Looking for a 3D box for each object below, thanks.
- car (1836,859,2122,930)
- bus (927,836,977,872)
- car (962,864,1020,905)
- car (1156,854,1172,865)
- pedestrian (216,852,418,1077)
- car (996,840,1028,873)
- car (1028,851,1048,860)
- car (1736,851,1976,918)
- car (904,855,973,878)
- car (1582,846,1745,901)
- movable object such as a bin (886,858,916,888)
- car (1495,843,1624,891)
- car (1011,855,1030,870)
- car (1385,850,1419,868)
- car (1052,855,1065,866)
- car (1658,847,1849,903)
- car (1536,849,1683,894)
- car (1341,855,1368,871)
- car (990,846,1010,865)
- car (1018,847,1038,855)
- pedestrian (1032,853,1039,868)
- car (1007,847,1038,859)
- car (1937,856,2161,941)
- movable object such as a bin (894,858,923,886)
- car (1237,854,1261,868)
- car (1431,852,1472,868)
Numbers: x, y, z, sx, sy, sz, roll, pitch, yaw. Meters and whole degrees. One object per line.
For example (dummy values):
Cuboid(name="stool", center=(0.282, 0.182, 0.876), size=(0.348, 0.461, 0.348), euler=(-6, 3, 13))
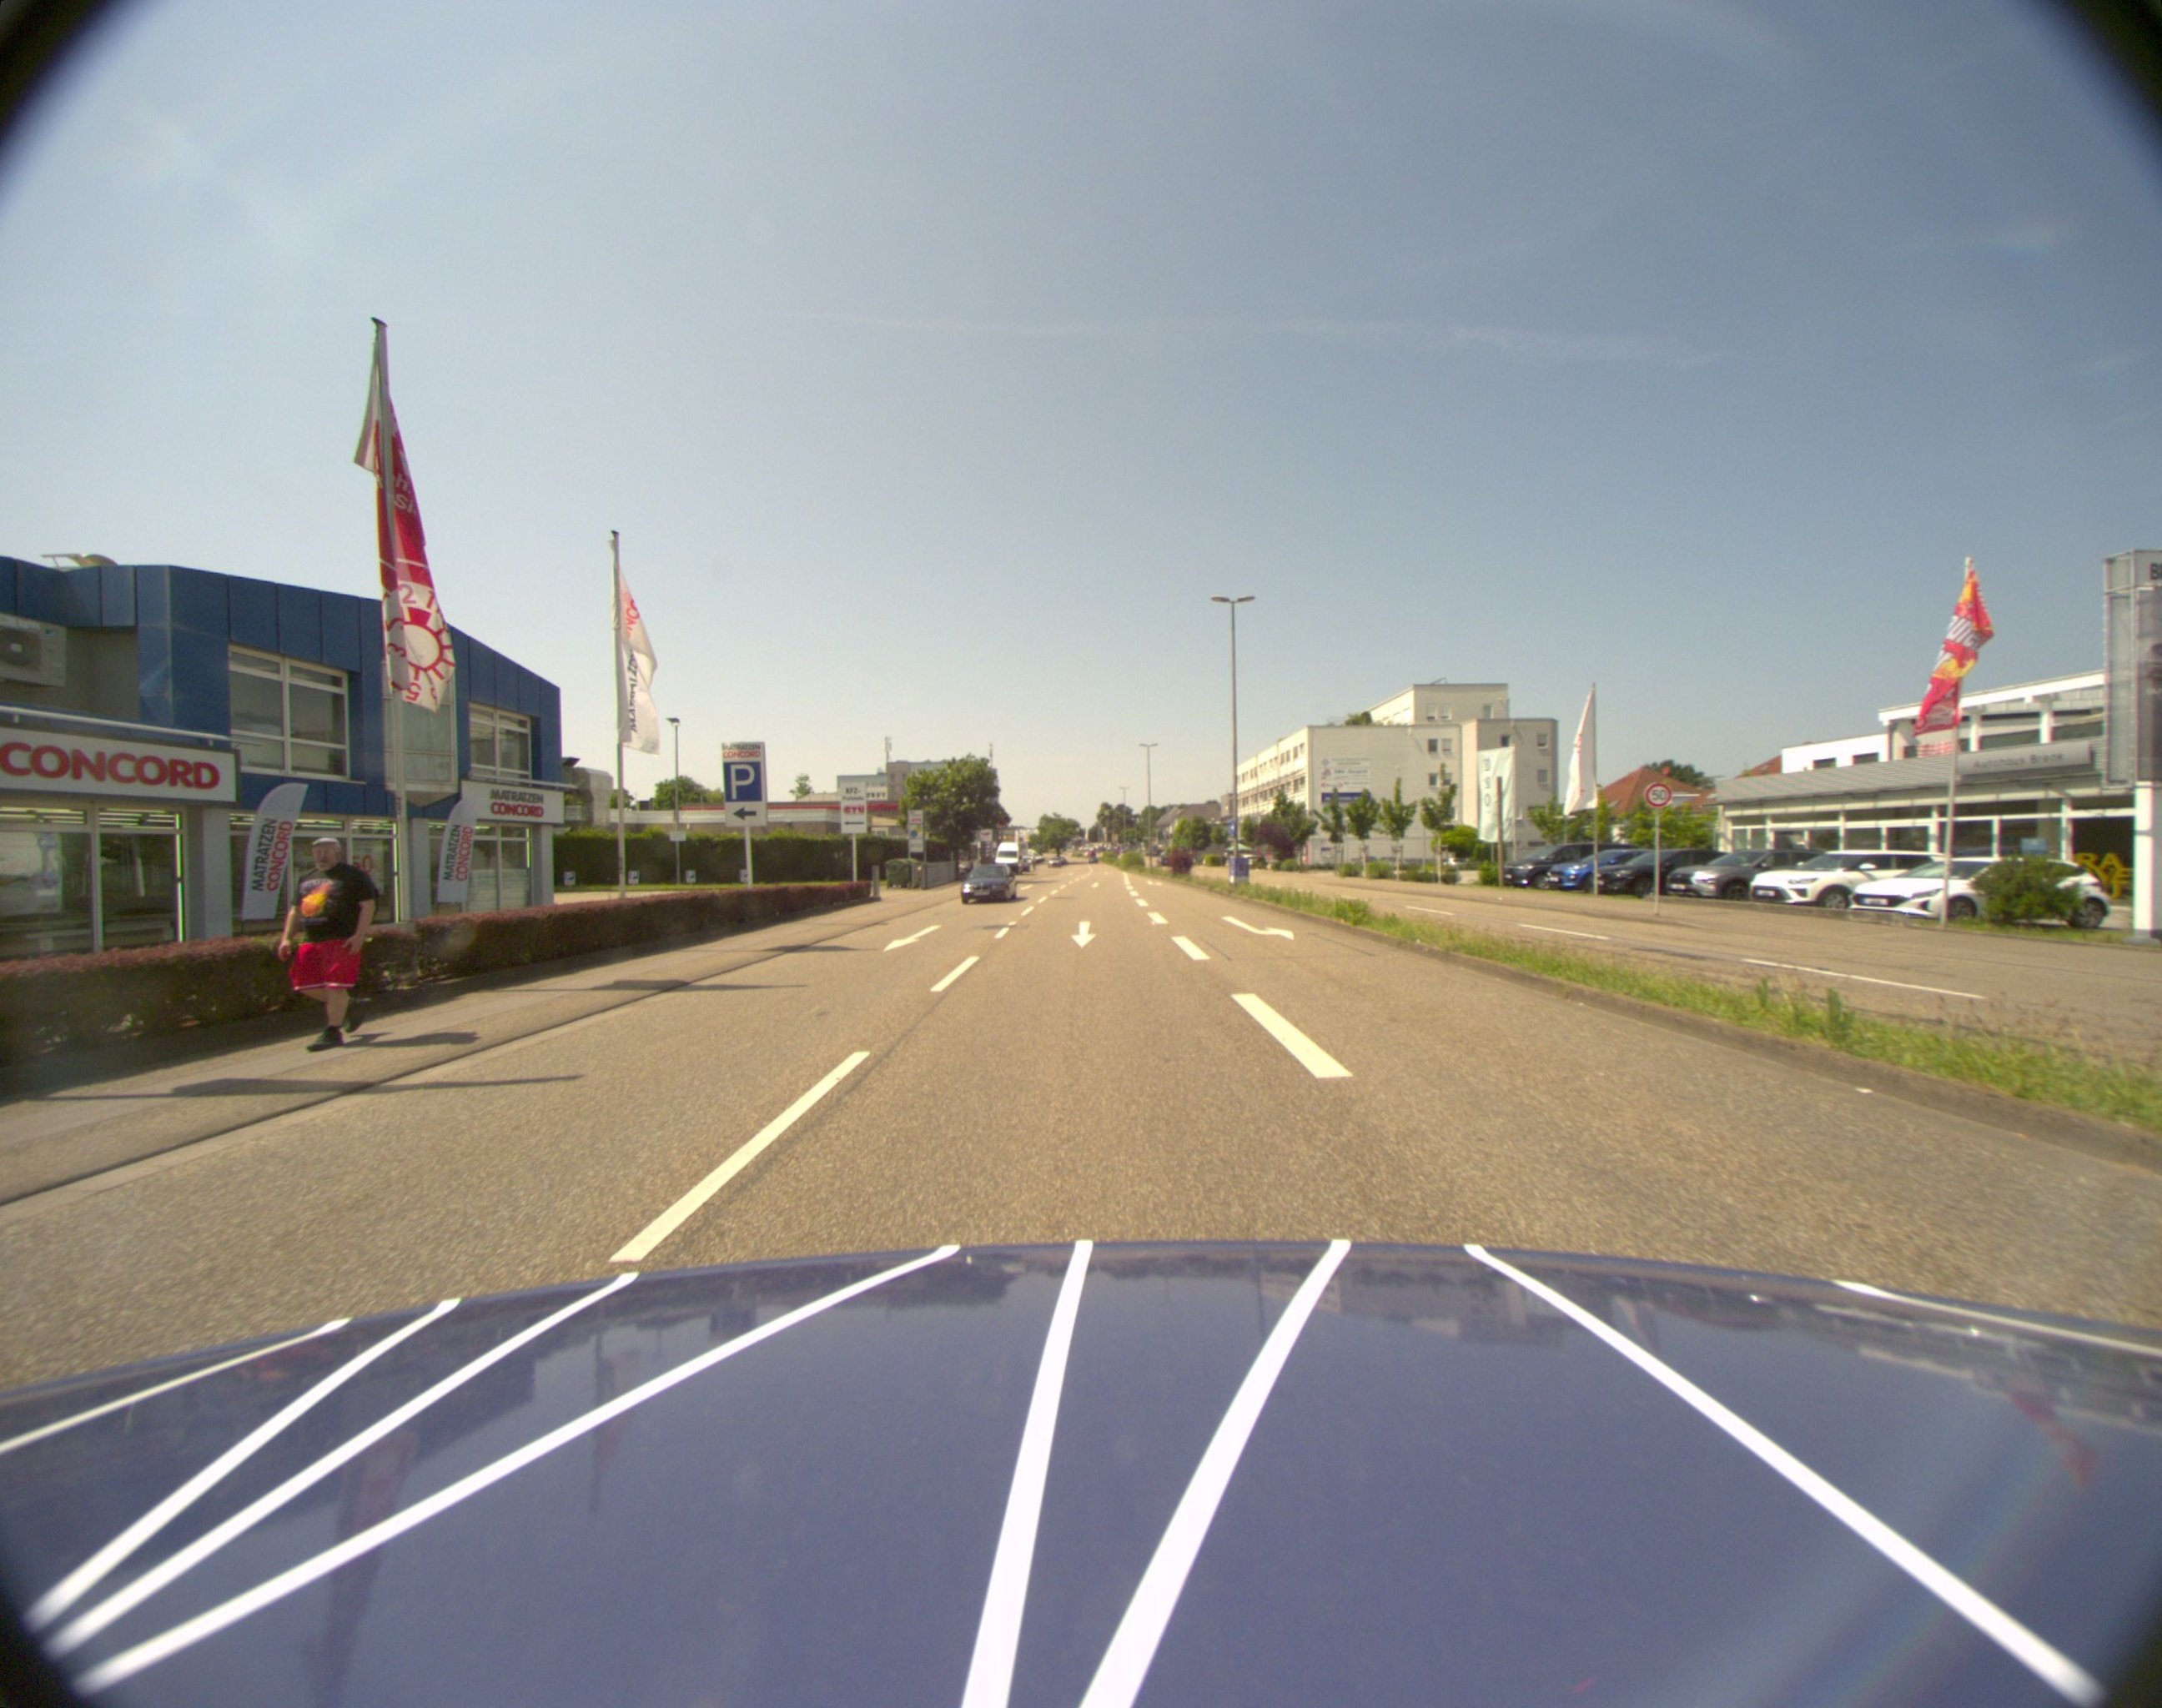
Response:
Cuboid(name="car", center=(19.118, 0.830, 16.319), size=(3.997, 1.386, 1.860), euler=(0, 0, -1))
Cuboid(name="bus", center=(-12.067, -0.008, 72.011), size=(2.755, 3.134, 9.080), euler=(0, 0, 3))
Cuboid(name="car", center=(-3.281, 1.075, 28.290), size=(1.632, 1.331, 3.756), euler=(-2, 0, 0))
Cuboid(name="car", center=(11.911, 0.765, 109.145), size=(1.832, 1.452, 4.712), euler=(0, 0, -1))
Cuboid(name="pedestrian", center=(-6.639, 0.903, 6.663), size=(0.787, 1.836, 0.936), euler=(0, 1, 3))
Cuboid(name="car", center=(-6.058, 0.225, 67.769), size=(2.183, 2.757, 7.277), euler=(2, 0, 0))
Cuboid(name="car", center=(-8.380, 0.215, 148.005), size=(3.999, 1.755, 1.724), euler=(0, 1, -5))
Cuboid(name="car", center=(19.351, 0.730, 19.144), size=(3.996, 1.599, 1.926), euler=(0, 0, 3))
Cuboid(name="car", center=(-10.419, 0.891, 55.666), size=(4.633, 1.518, 1.907), euler=(2, 0, 2))
Cuboid(name="car", center=(19.205, 0.616, 25.170), size=(3.997, 1.599, 1.759), euler=(2, 0, -1))
Cuboid(name="movable object such as a bin", center=(-9.138, 0.950, 38.657), size=(1.133, 1.461, 1.489), euler=(0, 0, 1))
Cuboid(name="car", center=(19.313, 0.502, 30.808), size=(3.997, 1.871, 2.000), euler=(0, 0, -1))
Cuboid(name="car", center=(-6.217, 0.856, 78.516), size=(1.681, 1.440, 3.840), euler=(2, 0, -1))
Cuboid(name="car", center=(27.803, 0.395, 65.922), size=(1.557, 1.510, 3.556), euler=(0, 0, 3))
Cuboid(name="car", center=(-3.392, 0.998, 113.224), size=(1.867, 1.550, 4.000), euler=(0, 0, 0))
Cuboid(name="car", center=(19.404, 0.582, 22.047), size=(3.997, 1.559, 1.759), euler=(0, 1, -1))
Cuboid(name="car", center=(19.440, 0.623, 28.079), size=(3.997, 1.599, 2.089), euler=(0, 0, -1))
Cuboid(name="car", center=(24.293, 0.782, 67.509), size=(1.456, 1.332, 2.833), euler=(0, 0, 3))
Cuboid(name="car", center=(-10.438, 0.166, 98.482), size=(2.058, 2.421, 5.574), euler=(0, 0, -1))
Cuboid(name="car", center=(-10.767, -0.625, 153.487), size=(3.999, 1.755, 1.724), euler=(0, 0, -5))
Cuboid(name="pedestrian", center=(-5.095, 0.730, 85.188), size=(0.704, 1.572, 0.820), euler=(2, 0, -3))
Cuboid(name="car", center=(-12.152, -0.232, 157.953), size=(6.870, 2.589, 1.728), euler=(0, 1, 33))
Cuboid(name="car", center=(19.143, 0.792, 14.363), size=(3.997, 1.458, 1.759), euler=(0, 0, -1))
Cuboid(name="movable object such as a bin", center=(-9.129, 0.943, 40.234), size=(1.133, 1.461, 1.489), euler=(0, 0, 1))
Cuboid(name="car", center=(18.105, 0.696, 82.196), size=(1.696, 1.440, 3.665), euler=(-2, 0, -1))
Cuboid(name="car", center=(32.262, 0.494, 66.289), size=(1.924, 1.376, 3.834), euler=(0, 0, 3))
